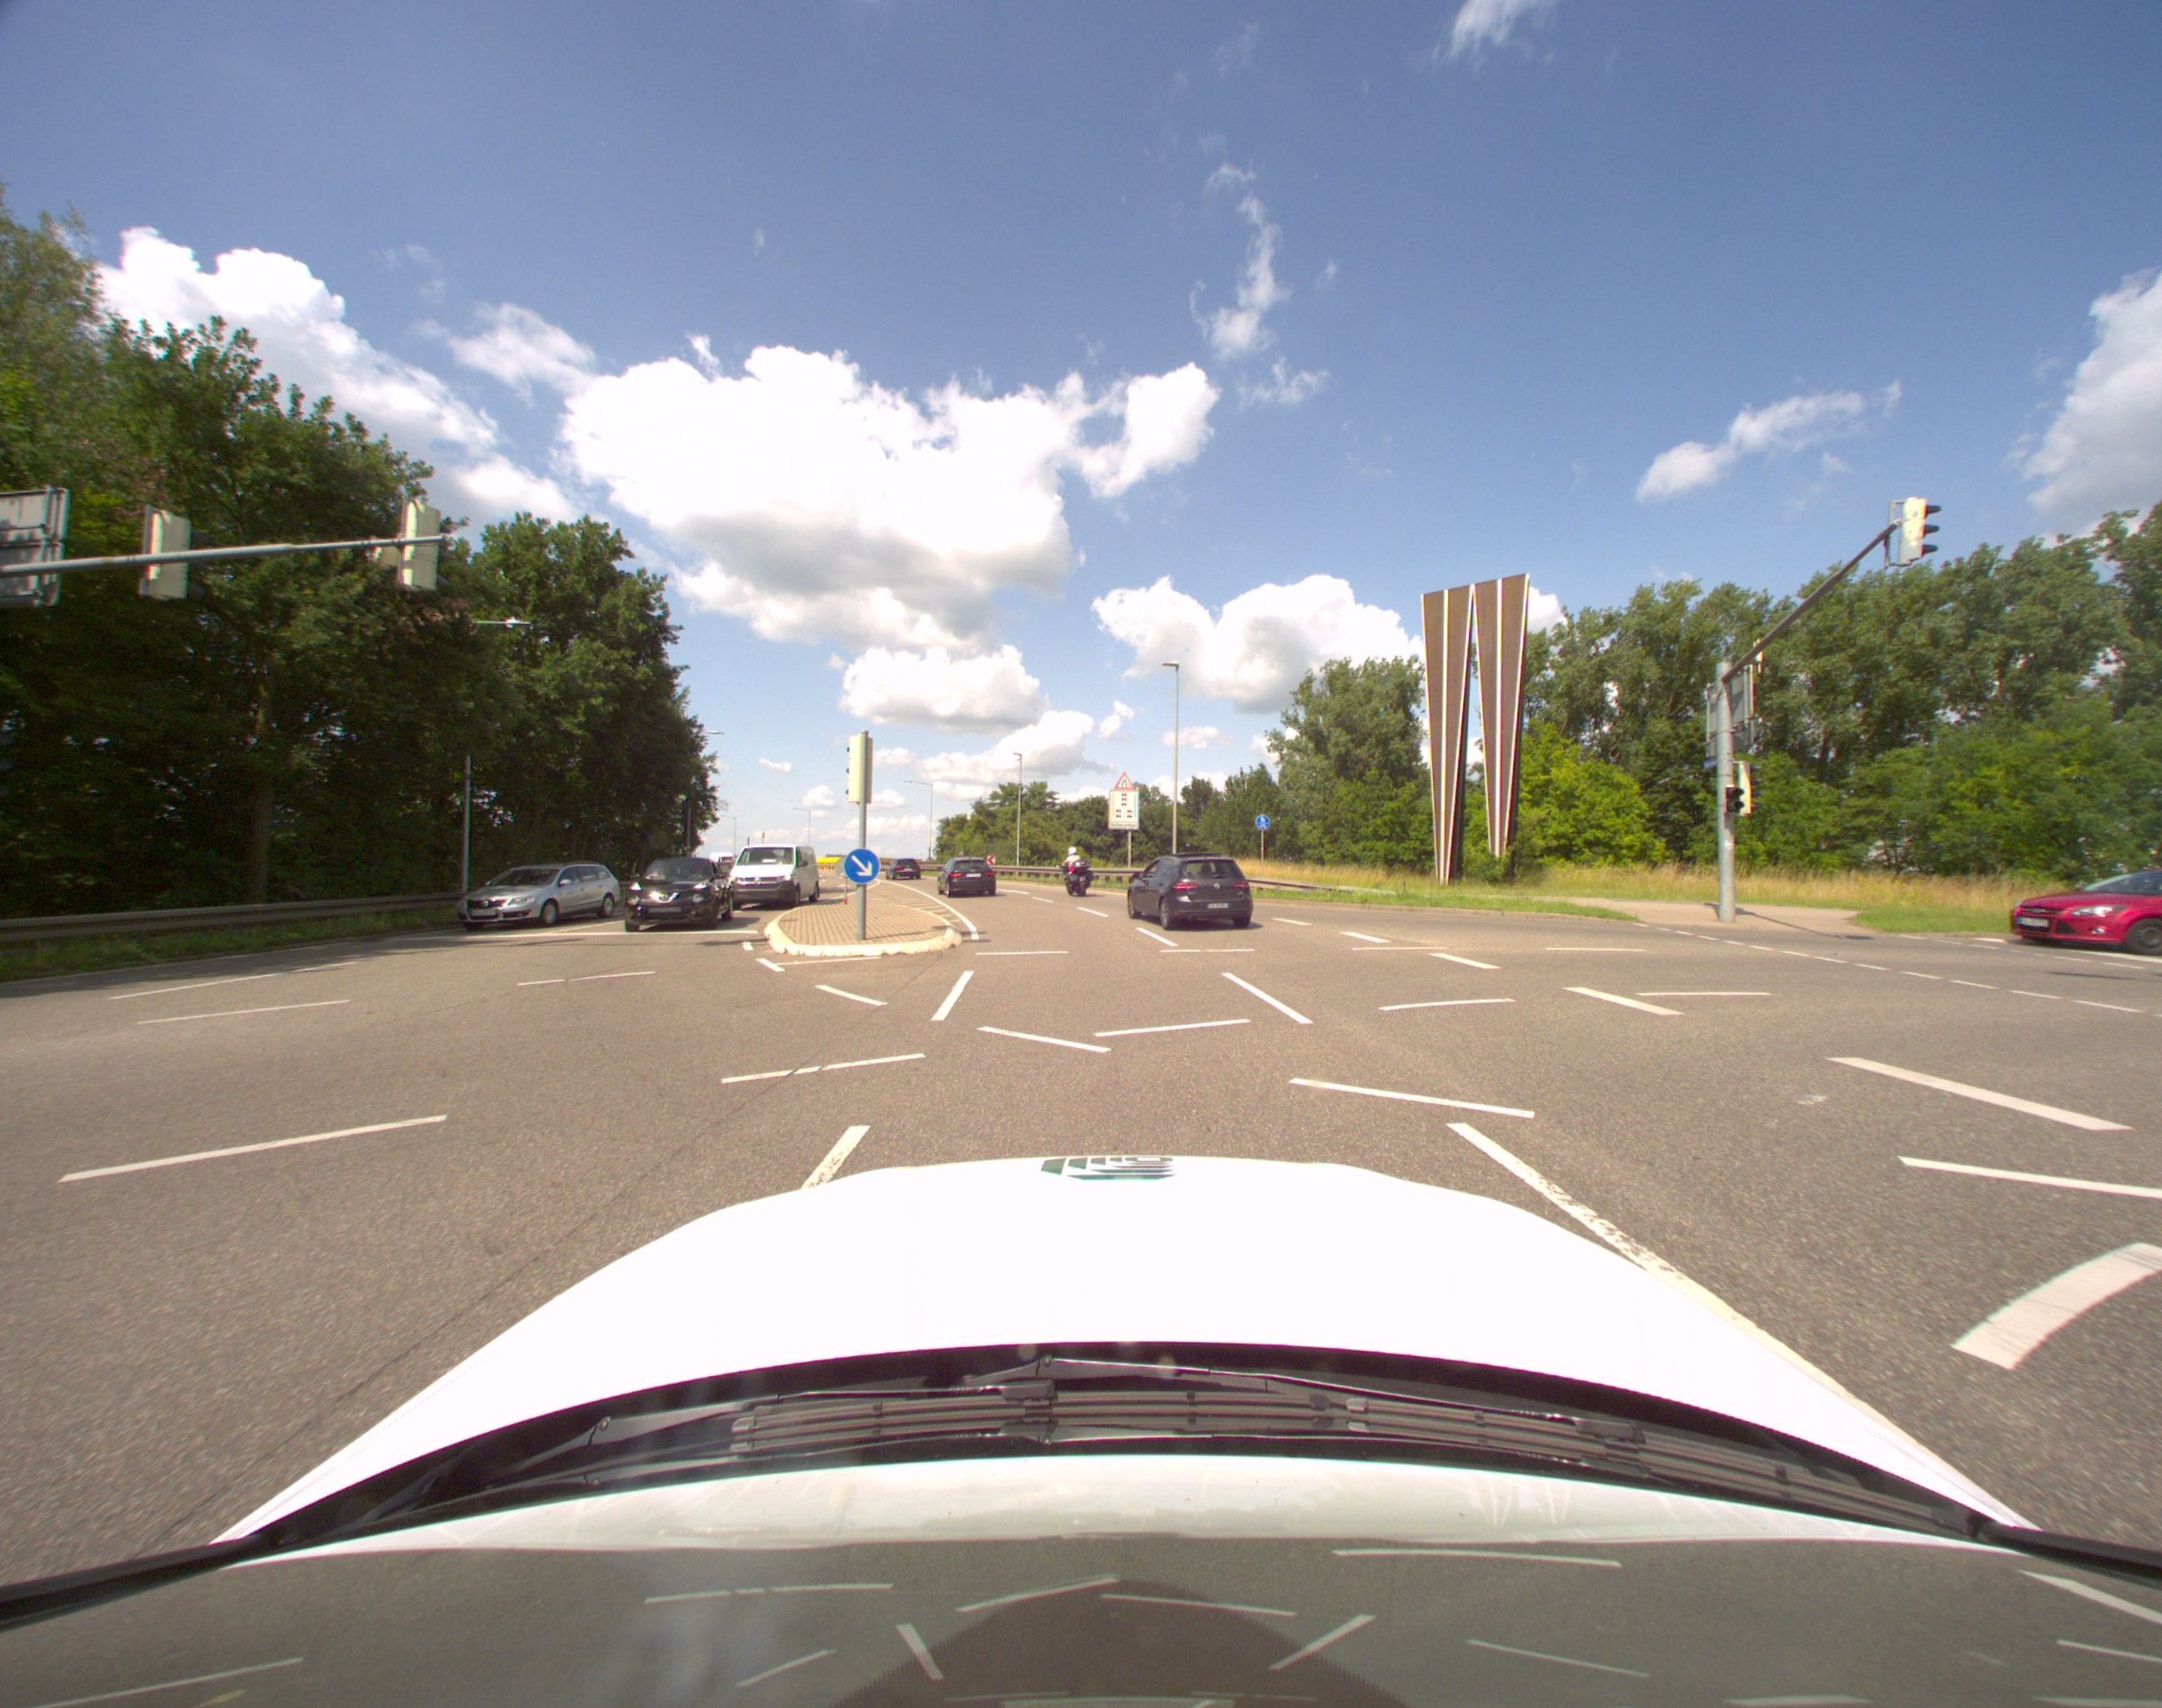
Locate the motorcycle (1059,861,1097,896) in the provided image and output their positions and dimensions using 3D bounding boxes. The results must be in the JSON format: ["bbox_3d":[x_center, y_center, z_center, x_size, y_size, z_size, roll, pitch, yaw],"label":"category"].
[{"bbox_3d":[-0.120,0.820,27.624,0.790,1.132,2.389,0,-1,-13],"label":"motorcycle"}]

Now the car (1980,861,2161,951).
[{"bbox_3d":[18.201,0.853,13.523,4.175,1.375,1.764,1,0,11],"label":"car"}]

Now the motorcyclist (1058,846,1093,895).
[{"bbox_3d":[-0.197,0.567,27.941,0.967,1.620,1.120,0,-1,-13],"label":"motorcyclist"}]

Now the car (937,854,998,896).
[{"bbox_3d":[-4.228,0.777,29.903,1.685,1.388,3.718,-1,-1,-16],"label":"car"}]

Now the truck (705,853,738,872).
[{"bbox_3d":[-49.349,1.202,111.714,5.873,2.507,2.012,-1,0,44],"label":"truck"}]

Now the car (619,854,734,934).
[{"bbox_3d":[-8.831,0.794,18.069,1.702,1.557,3.799,-1,0,-18],"label":"car"}]

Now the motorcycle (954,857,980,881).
[{"bbox_3d":[-6.024,0.781,43.009,0.890,1.247,2.383,0,-1,-20],"label":"motorcycle"}]

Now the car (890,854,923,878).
[{"bbox_3d":[-11.584,0.800,53.908,1.648,1.479,3.845,0,-1,-21],"label":"car"}]

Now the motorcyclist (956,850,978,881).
[{"bbox_3d":[-6.058,0.618,43.159,0.969,1.596,1.117,0,-1,-20],"label":"motorcyclist"}]

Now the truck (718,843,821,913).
[{"bbox_3d":[-9.547,0.673,25.426,1.960,1.913,5.352,-1,0,-10],"label":"truck"}]

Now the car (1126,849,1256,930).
[{"bbox_3d":[2.171,0.691,17.162,1.642,1.479,3.859,-1,-1,-10],"label":"car"}]

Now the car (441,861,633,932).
[{"bbox_3d":[-13.089,0.941,20.015,1.678,1.478,4.707,-2,0,-3],"label":"car"}]
